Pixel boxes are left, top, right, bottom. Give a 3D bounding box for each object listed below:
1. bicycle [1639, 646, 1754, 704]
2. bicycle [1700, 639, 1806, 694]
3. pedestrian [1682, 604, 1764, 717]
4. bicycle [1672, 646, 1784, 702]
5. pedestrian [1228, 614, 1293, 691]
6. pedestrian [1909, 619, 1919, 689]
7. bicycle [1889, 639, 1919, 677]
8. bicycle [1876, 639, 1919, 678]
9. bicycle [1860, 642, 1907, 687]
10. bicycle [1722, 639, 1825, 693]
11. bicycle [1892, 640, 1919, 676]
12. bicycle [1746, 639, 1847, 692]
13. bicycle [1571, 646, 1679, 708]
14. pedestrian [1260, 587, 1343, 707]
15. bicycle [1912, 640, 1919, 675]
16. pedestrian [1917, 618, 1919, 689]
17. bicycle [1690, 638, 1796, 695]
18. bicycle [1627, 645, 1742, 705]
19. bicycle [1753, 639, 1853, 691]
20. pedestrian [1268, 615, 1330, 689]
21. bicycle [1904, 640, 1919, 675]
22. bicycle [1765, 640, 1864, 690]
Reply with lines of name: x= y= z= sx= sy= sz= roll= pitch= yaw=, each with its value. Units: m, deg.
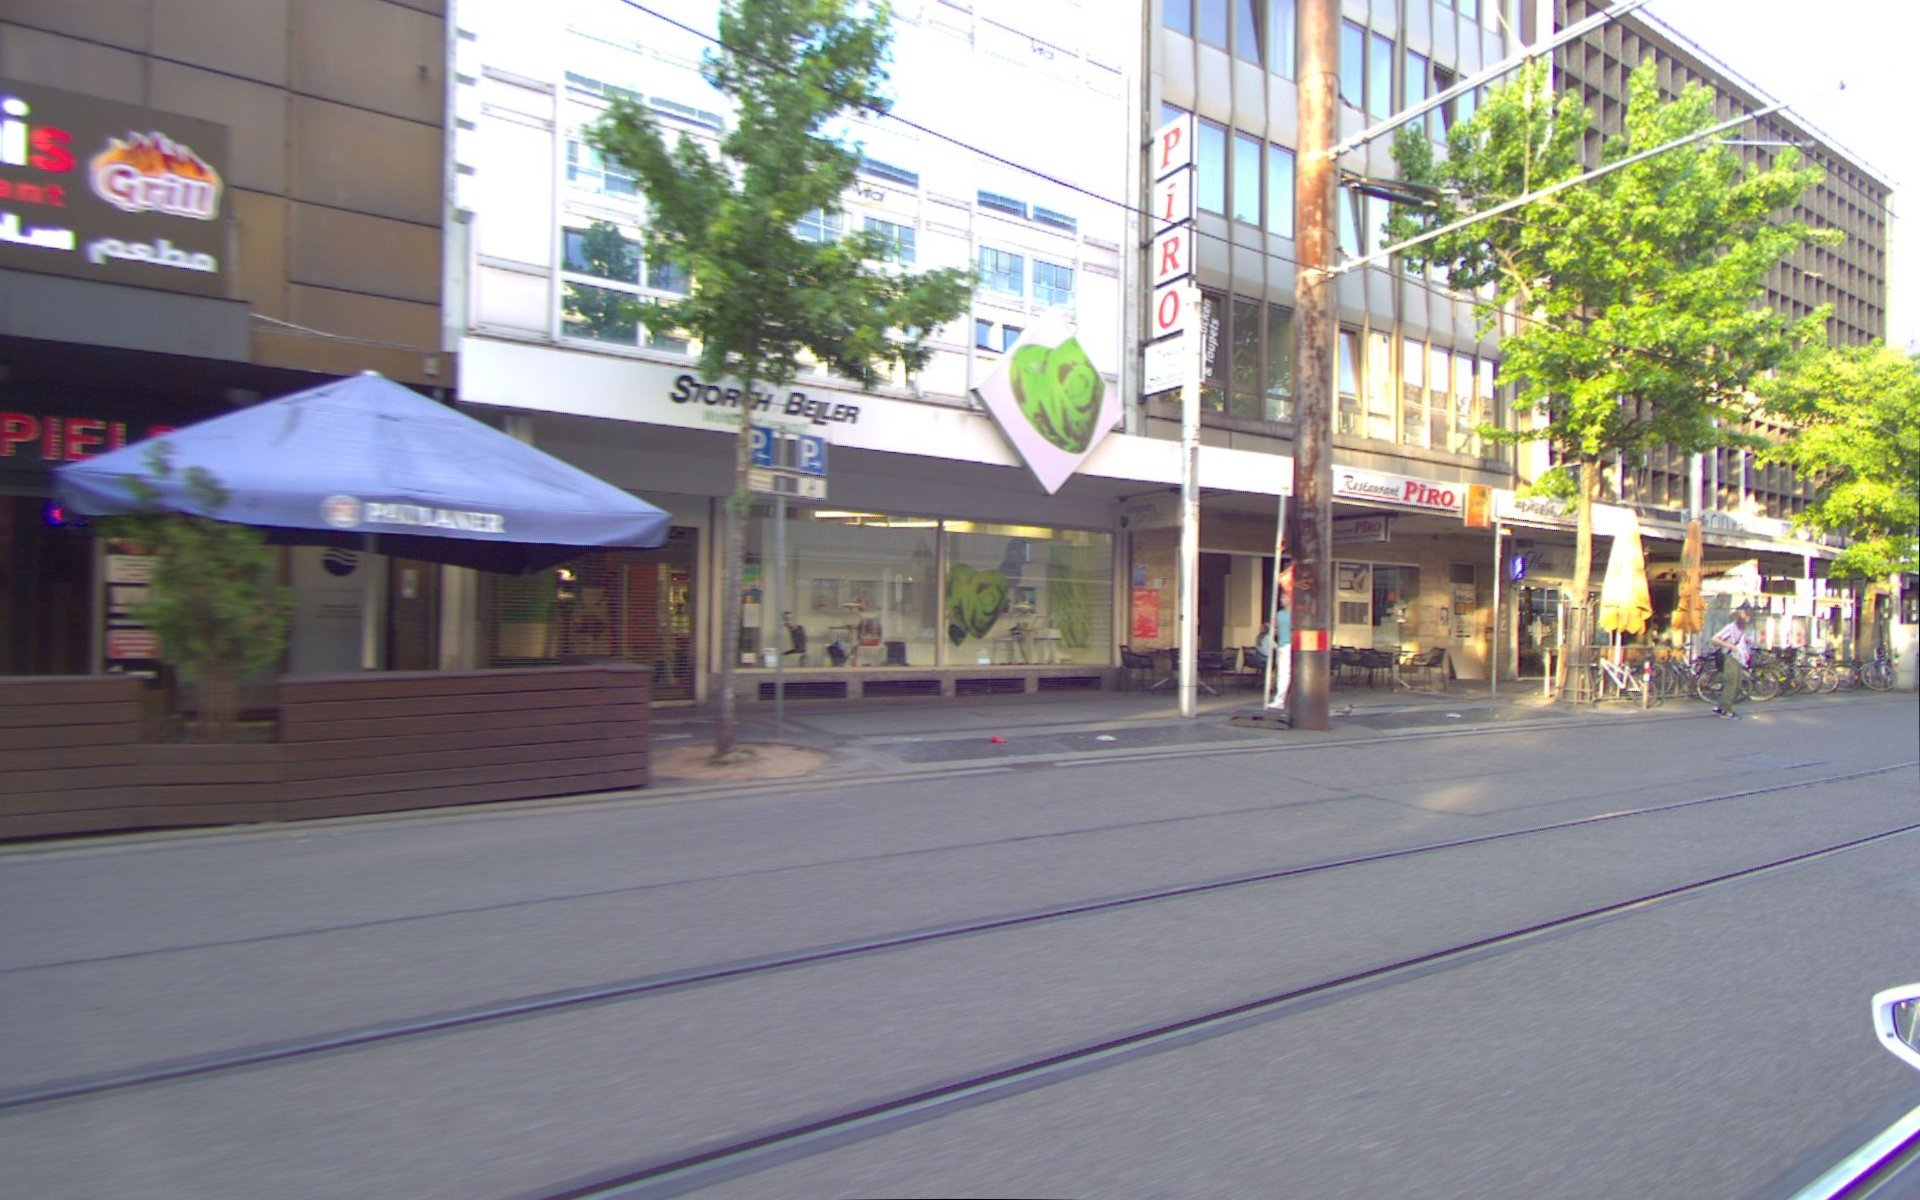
bicycle: x=14.626 y=1.463 z=19.995 sx=0.485 sy=1.003 sz=1.759 roll=0 pitch=1 yaw=-36
bicycle: x=17.708 y=1.459 z=22.466 sx=0.485 sy=1.085 sz=1.759 roll=0 pitch=1 yaw=-36
pedestrian: x=12.739 y=0.993 z=16.800 sx=0.806 sy=1.816 sz=0.990 roll=1 pitch=-1 yaw=19
bicycle: x=15.816 y=1.502 z=20.725 sx=0.485 sy=1.003 sz=1.759 roll=0 pitch=1 yaw=-36
pedestrian: x=5.503 y=0.955 z=18.413 sx=0.902 sy=1.343 sz=0.666 roll=2 pitch=1 yaw=-33
pedestrian: x=23.905 y=1.326 z=24.715 sx=0.525 sy=1.722 sz=0.603 roll=1 pitch=0 yaw=-2
bicycle: x=28.699 y=1.744 z=29.669 sx=0.484 sy=1.059 sz=1.763 roll=1 pitch=1 yaw=-30
bicycle: x=27.744 y=1.712 z=29.051 sx=0.484 sy=1.059 sz=1.763 roll=1 pitch=1 yaw=-30
bicycle: x=23.022 y=1.589 z=25.031 sx=1.759 sy=1.059 sz=0.485 roll=1 pitch=0 yaw=-35
bicycle: x=18.725 y=1.493 z=23.156 sx=0.485 sy=1.085 sz=1.759 roll=0 pitch=1 yaw=-36
bicycle: x=28.904 y=1.750 z=29.793 sx=0.484 sy=1.059 sz=1.763 roll=1 pitch=1 yaw=-30
bicycle: x=19.766 y=1.527 z=23.764 sx=0.485 sy=1.085 sz=1.759 roll=0 pitch=1 yaw=-36
bicycle: x=12.161 y=1.387 z=18.432 sx=0.481 sy=0.978 sz=1.772 roll=2 pitch=1 yaw=-14
pedestrian: x=5.370 y=0.731 z=15.794 sx=0.977 sy=1.816 sz=0.682 roll=2 pitch=1 yaw=-26
bicycle: x=30.301 y=1.796 z=30.617 sx=0.484 sy=1.059 sz=1.763 roll=1 pitch=1 yaw=-30
pedestrian: x=23.671 y=1.313 z=24.252 sx=0.525 sy=1.722 sz=0.603 roll=1 pitch=0 yaw=-2
bicycle: x=17.233 y=1.443 z=22.147 sx=0.485 sy=1.085 sz=1.759 roll=0 pitch=1 yaw=-36
bicycle: x=14.187 y=1.449 z=19.712 sx=0.485 sy=1.003 sz=1.759 roll=0 pitch=1 yaw=-36
bicycle: x=20.196 y=1.542 z=24.095 sx=0.485 sy=1.085 sz=1.759 roll=0 pitch=1 yaw=-36
pedestrian: x=6.455 y=0.985 z=19.125 sx=0.902 sy=1.343 sz=0.666 roll=2 pitch=1 yaw=-33
bicycle: x=29.795 y=1.780 z=30.346 sx=0.484 sy=1.059 sz=1.763 roll=1 pitch=1 yaw=-30
bicycle: x=20.749 y=1.560 z=24.427 sx=0.485 sy=1.085 sz=1.759 roll=0 pitch=1 yaw=-36
